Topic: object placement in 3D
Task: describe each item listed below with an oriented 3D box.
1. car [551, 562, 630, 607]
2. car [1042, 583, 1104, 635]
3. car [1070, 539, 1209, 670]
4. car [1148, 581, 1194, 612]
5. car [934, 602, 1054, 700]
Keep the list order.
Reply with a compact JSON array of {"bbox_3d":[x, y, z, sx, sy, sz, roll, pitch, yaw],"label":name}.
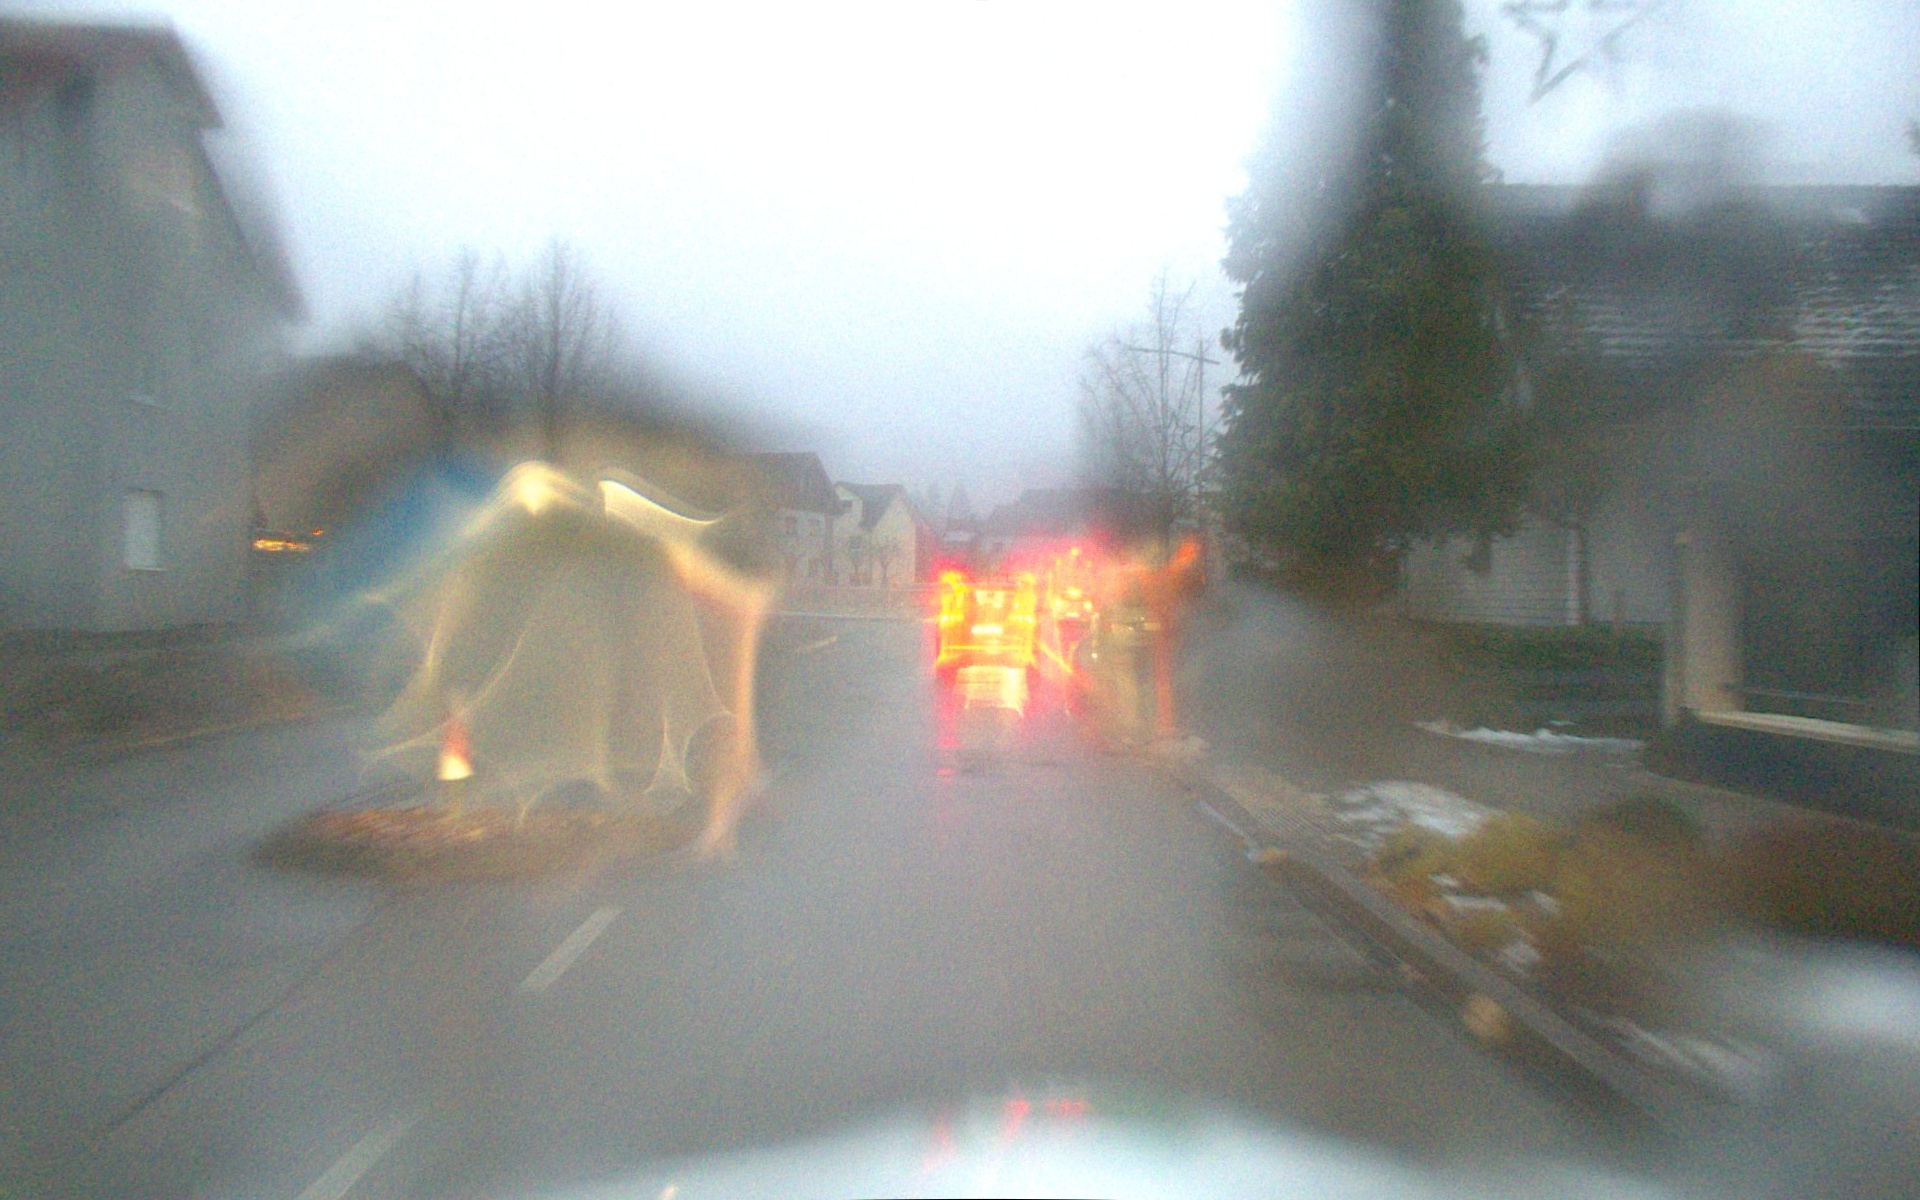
[{"bbox_3d":[-17.760,-0.746,79.614,1.952,2.048,4.002,3,1,16],"label":"car"},{"bbox_3d":[4.749,0.391,68.884,1.951,2.049,4.003,1,0,12],"label":"car"},{"bbox_3d":[3.078,0.038,29.513,1.936,2.049,5.746,-2,1,1],"label":"car"},{"bbox_3d":[11.782,-0.198,92.136,1.951,1.699,4.003,1,0,15],"label":"car"},{"bbox_3d":[0.530,0.846,29.257,1.953,1.552,3.999,1,0,-1],"label":"car"}]
